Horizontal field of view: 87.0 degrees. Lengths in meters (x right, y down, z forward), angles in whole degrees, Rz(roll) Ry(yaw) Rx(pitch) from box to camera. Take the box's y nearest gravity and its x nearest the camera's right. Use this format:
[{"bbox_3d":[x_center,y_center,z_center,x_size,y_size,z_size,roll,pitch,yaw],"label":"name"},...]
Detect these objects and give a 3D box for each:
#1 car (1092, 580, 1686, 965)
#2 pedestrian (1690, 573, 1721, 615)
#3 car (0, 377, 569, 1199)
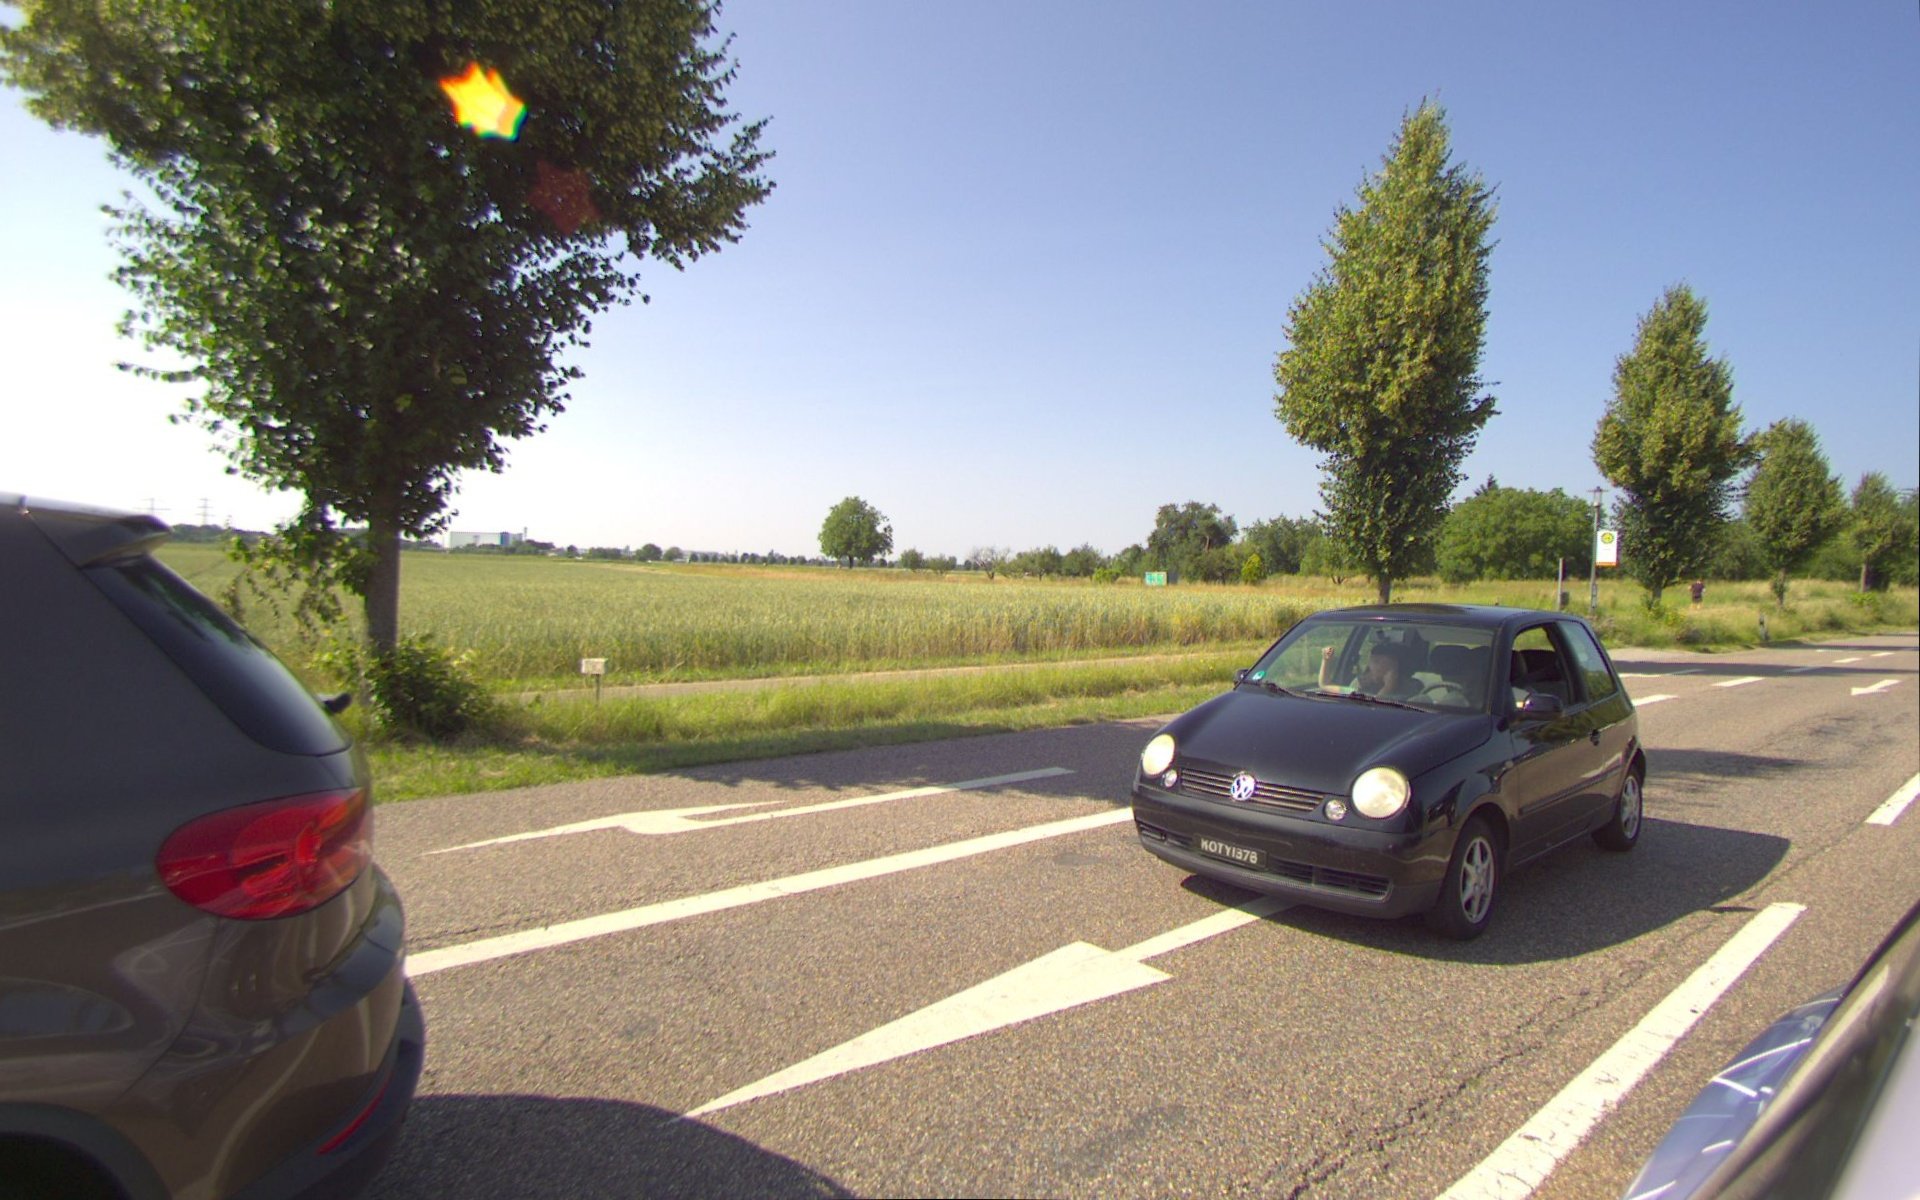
[{"bbox_3d":[2.534,0.639,5.609,3.559,1.451,1.628,0,0,-41],"label":"car"},{"bbox_3d":[34.428,-0.280,46.746,1.174,1.862,0.903,0,2,-43],"label":"pedestrian"},{"bbox_3d":[-2.787,0.551,1.097,4.075,1.676,1.758,0,0,-42],"label":"car"}]
